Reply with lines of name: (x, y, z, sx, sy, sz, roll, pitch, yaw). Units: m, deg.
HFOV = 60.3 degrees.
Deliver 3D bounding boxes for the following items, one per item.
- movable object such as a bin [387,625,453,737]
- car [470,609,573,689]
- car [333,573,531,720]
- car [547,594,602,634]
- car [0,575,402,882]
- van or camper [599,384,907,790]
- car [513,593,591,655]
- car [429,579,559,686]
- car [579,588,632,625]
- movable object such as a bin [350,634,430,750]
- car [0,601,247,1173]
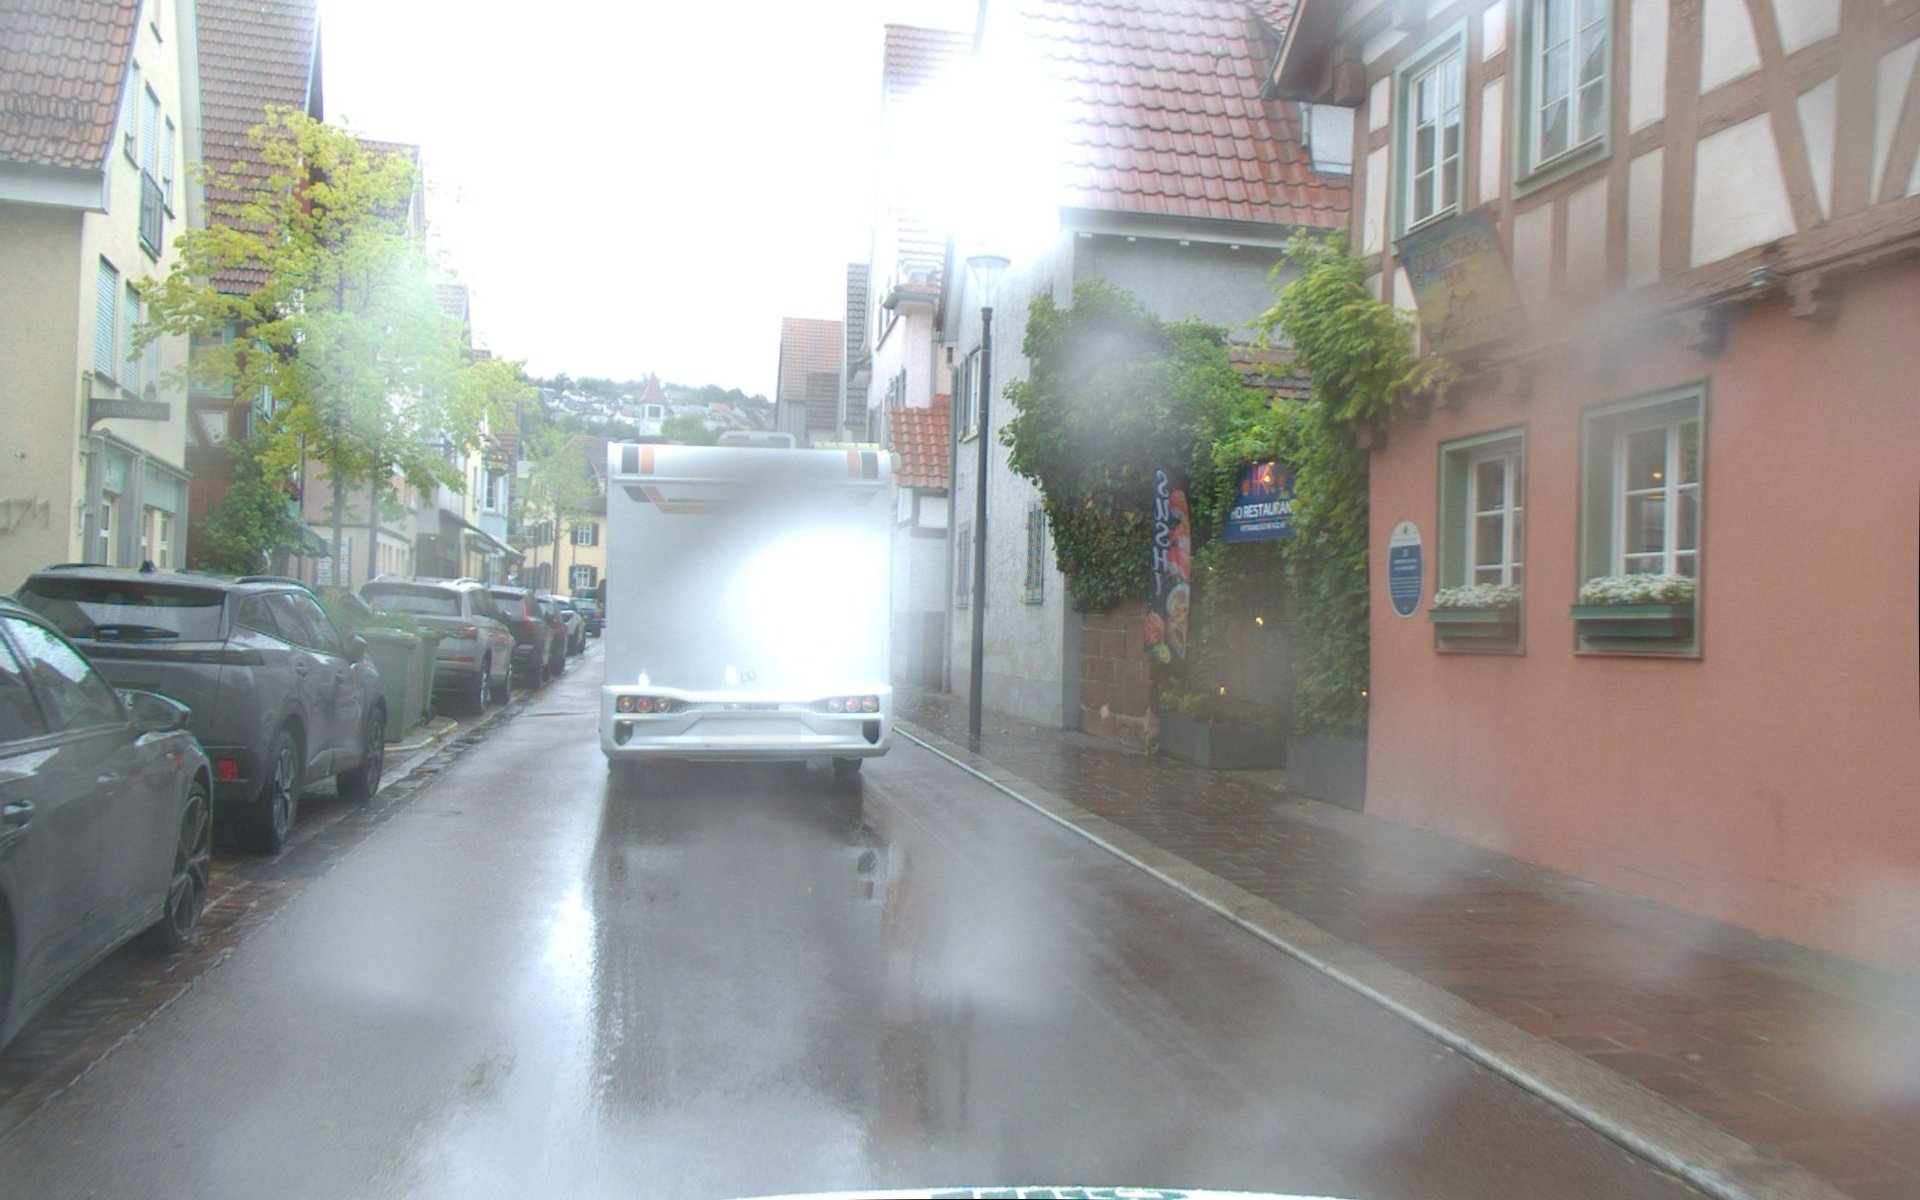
movable object such as a bin: (-5.976, 0.886, 18.330, 0.590, 1.222, 0.522, 0, -1, -7)
car: (-9.158, 1.012, 34.823, 1.800, 1.579, 4.269, 0, -1, -11)
car: (-6.819, 0.599, 21.808, 1.739, 1.704, 4.470, 2, -1, -9)
car: (-15.514, 0.547, 66.435, 1.961, 1.497, 3.983, 1, 0, -16)
car: (-4.734, 0.695, 10.522, 1.563, 1.573, 3.968, 0, -1, -9)
van or camper: (-2.189, -0.036, 15.455, 2.285, 2.970, 6.372, 0, -1, -12)
car: (-11.052, 0.659, 45.003, 1.794, 1.594, 3.989, 0, -1, -11)
car: (-8.036, 0.567, 28.881, 1.800, 1.704, 4.527, 0, -1, -11)
car: (-20.428, 0.406, 95.313, 1.971, 2.049, 3.962, 1, -1, -28)
movable object such as a bin: (-5.576, 0.886, 16.204, 0.609, 1.098, 0.724, 0, -1, -9)
car: (-3.538, 0.712, 5.004, 1.771, 1.458, 4.609, 3, -1, -14)
